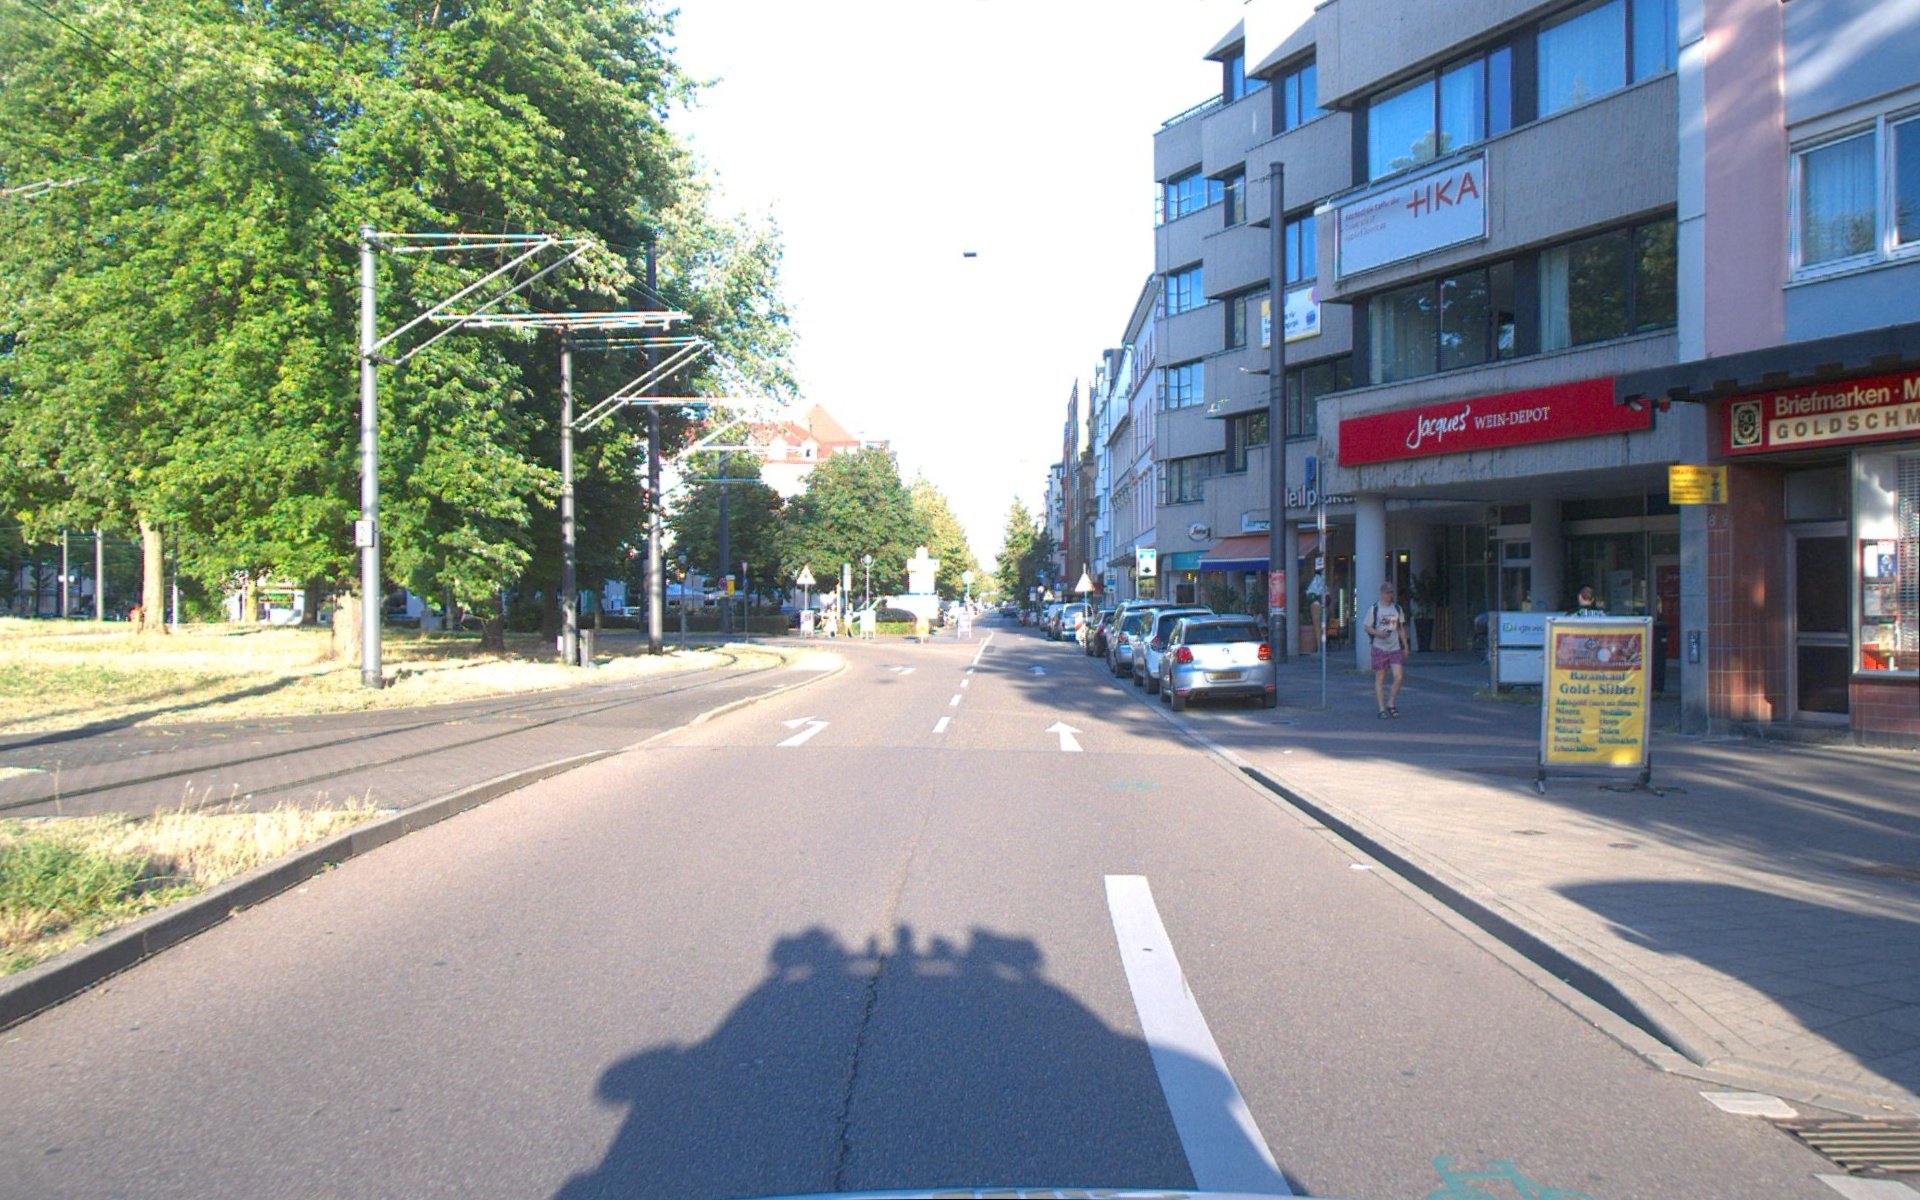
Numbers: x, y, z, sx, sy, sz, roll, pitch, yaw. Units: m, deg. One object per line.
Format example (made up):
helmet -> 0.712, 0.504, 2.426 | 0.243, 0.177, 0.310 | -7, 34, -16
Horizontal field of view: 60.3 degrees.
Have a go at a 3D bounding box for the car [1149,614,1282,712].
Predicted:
car -> 4.107, 0.976, 27.137 | 1.747, 1.482, 4.001 | 0, -1, 3

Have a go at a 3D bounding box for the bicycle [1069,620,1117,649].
bicycle -> 5.184, 1.354, 64.471 | 1.750, 1.007, 0.542 | -3, 1, 13

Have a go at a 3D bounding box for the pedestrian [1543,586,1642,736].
pedestrian -> 7.252, 0.683, 18.979 | 0.630, 1.655, 0.851 | -2, 0, -22

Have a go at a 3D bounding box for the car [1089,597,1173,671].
car -> 4.488, 0.857, 43.919 | 1.747, 1.836, 4.401 | 1, 0, 0

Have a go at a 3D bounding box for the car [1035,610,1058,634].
car -> 6.762, 1.722, 129.528 | 1.661, 1.800, 4.000 | -1, 0, 1

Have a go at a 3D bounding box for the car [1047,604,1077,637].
car -> 6.059, 1.206, 98.366 | 1.674, 1.867, 4.307 | 1, 0, 2

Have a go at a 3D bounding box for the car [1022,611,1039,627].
car -> 7.295, 2.000, 171.563 | 1.545, 1.570, 3.395 | -2, -1, -1

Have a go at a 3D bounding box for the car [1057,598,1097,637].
car -> 5.649, 0.837, 80.060 | 1.755, 1.823, 4.092 | 0, -1, 2

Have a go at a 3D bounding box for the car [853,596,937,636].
car -> -3.841, 0.937, 97.829 | 4.541, 2.290, 2.185 | 1, -1, -26

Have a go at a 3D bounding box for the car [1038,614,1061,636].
car -> 6.762, 1.875, 124.403 | 1.645, 1.588, 4.002 | -2, 0, 4

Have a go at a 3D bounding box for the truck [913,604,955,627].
truck -> -3.062, 1.779, 194.222 | 4.839, 2.661, 2.000 | 0, -1, 1

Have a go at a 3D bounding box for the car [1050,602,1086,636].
car -> 5.580, 0.983, 85.520 | 1.622, 1.694, 4.108 | 1, 0, 1

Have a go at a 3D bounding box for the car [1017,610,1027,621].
car -> 7.634, 1.909, 203.717 | 1.182, 1.323, 2.660 | 0, -1, -1

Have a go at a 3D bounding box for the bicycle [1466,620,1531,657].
bicycle -> 12.429, 0.890, 38.176 | 1.366, 0.843, 0.437 | 1, 0, -8

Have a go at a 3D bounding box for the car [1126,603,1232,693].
car -> 4.195, 0.881, 32.151 | 1.552, 1.618, 3.667 | 1, 0, 0

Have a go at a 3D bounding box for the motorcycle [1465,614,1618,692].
motorcycle -> 9.197, 0.828, 26.182 | 2.233, 1.211, 0.703 | 0, 0, -9

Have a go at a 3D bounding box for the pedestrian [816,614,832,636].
pedestrian -> -8.098, 1.476, 98.502 | 0.740, 1.300, 0.653 | 1, -1, -36

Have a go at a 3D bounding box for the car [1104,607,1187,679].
car -> 4.265, 0.950, 38.475 | 1.607, 1.555, 4.001 | 1, 0, 2

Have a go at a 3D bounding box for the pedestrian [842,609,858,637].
pedestrian -> -5.459, 1.145, 81.799 | 0.558, 1.388, 0.606 | 1, -1, -36

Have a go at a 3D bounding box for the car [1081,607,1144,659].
car -> 4.730, 1.014, 51.786 | 1.753, 1.534, 3.922 | 1, 0, 2

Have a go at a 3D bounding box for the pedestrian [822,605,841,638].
pedestrian -> -6.325, 1.057, 81.440 | 0.692, 1.586, 0.686 | 1, -1, -36

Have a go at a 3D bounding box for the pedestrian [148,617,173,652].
pedestrian -> -43.963, 1.895, 90.972 | 0.843, 1.872, 0.997 | 1, 1, 2

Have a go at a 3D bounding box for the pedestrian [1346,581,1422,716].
pedestrian -> 5.853, 0.656, 22.845 | 0.630, 1.817, 0.851 | 1, 0, -22

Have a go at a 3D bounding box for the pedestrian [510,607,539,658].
pedestrian -> -15.050, 1.140, 57.168 | 0.728, 1.729, 0.824 | 1, -2, 2
